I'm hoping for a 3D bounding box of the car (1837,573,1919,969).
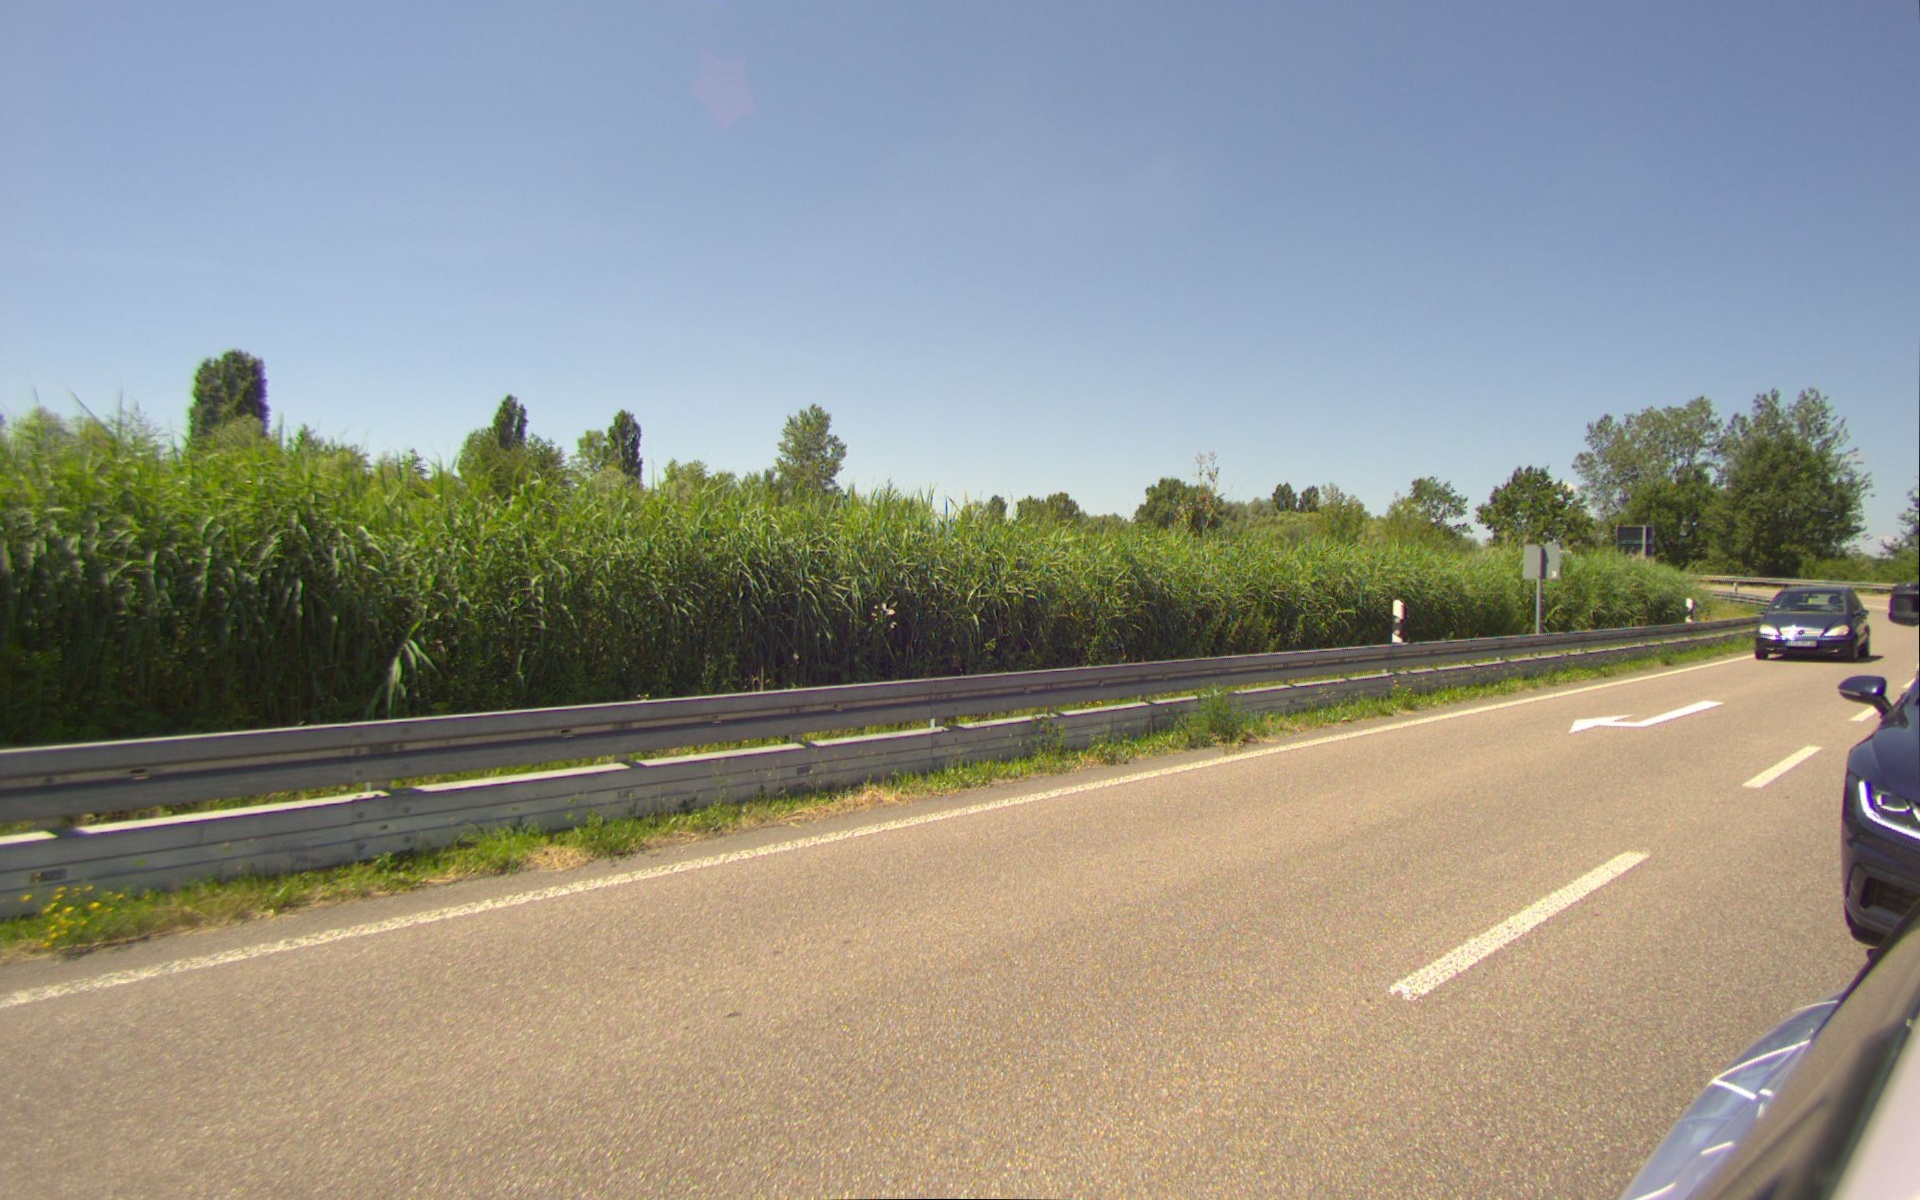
[{"bbox_3d":[5.657,0.625,4.693,4.338,1.481,1.818,-1,1,-41],"label":"car"}]

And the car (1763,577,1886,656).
[{"bbox_3d":[19.206,0.307,22.443,3.493,1.620,1.670,-1,1,-43],"label":"car"}]

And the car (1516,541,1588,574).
[{"bbox_3d":[50.852,-3.594,87.088,1.960,2.445,5.599,-7,1,-10],"label":"car"}]
